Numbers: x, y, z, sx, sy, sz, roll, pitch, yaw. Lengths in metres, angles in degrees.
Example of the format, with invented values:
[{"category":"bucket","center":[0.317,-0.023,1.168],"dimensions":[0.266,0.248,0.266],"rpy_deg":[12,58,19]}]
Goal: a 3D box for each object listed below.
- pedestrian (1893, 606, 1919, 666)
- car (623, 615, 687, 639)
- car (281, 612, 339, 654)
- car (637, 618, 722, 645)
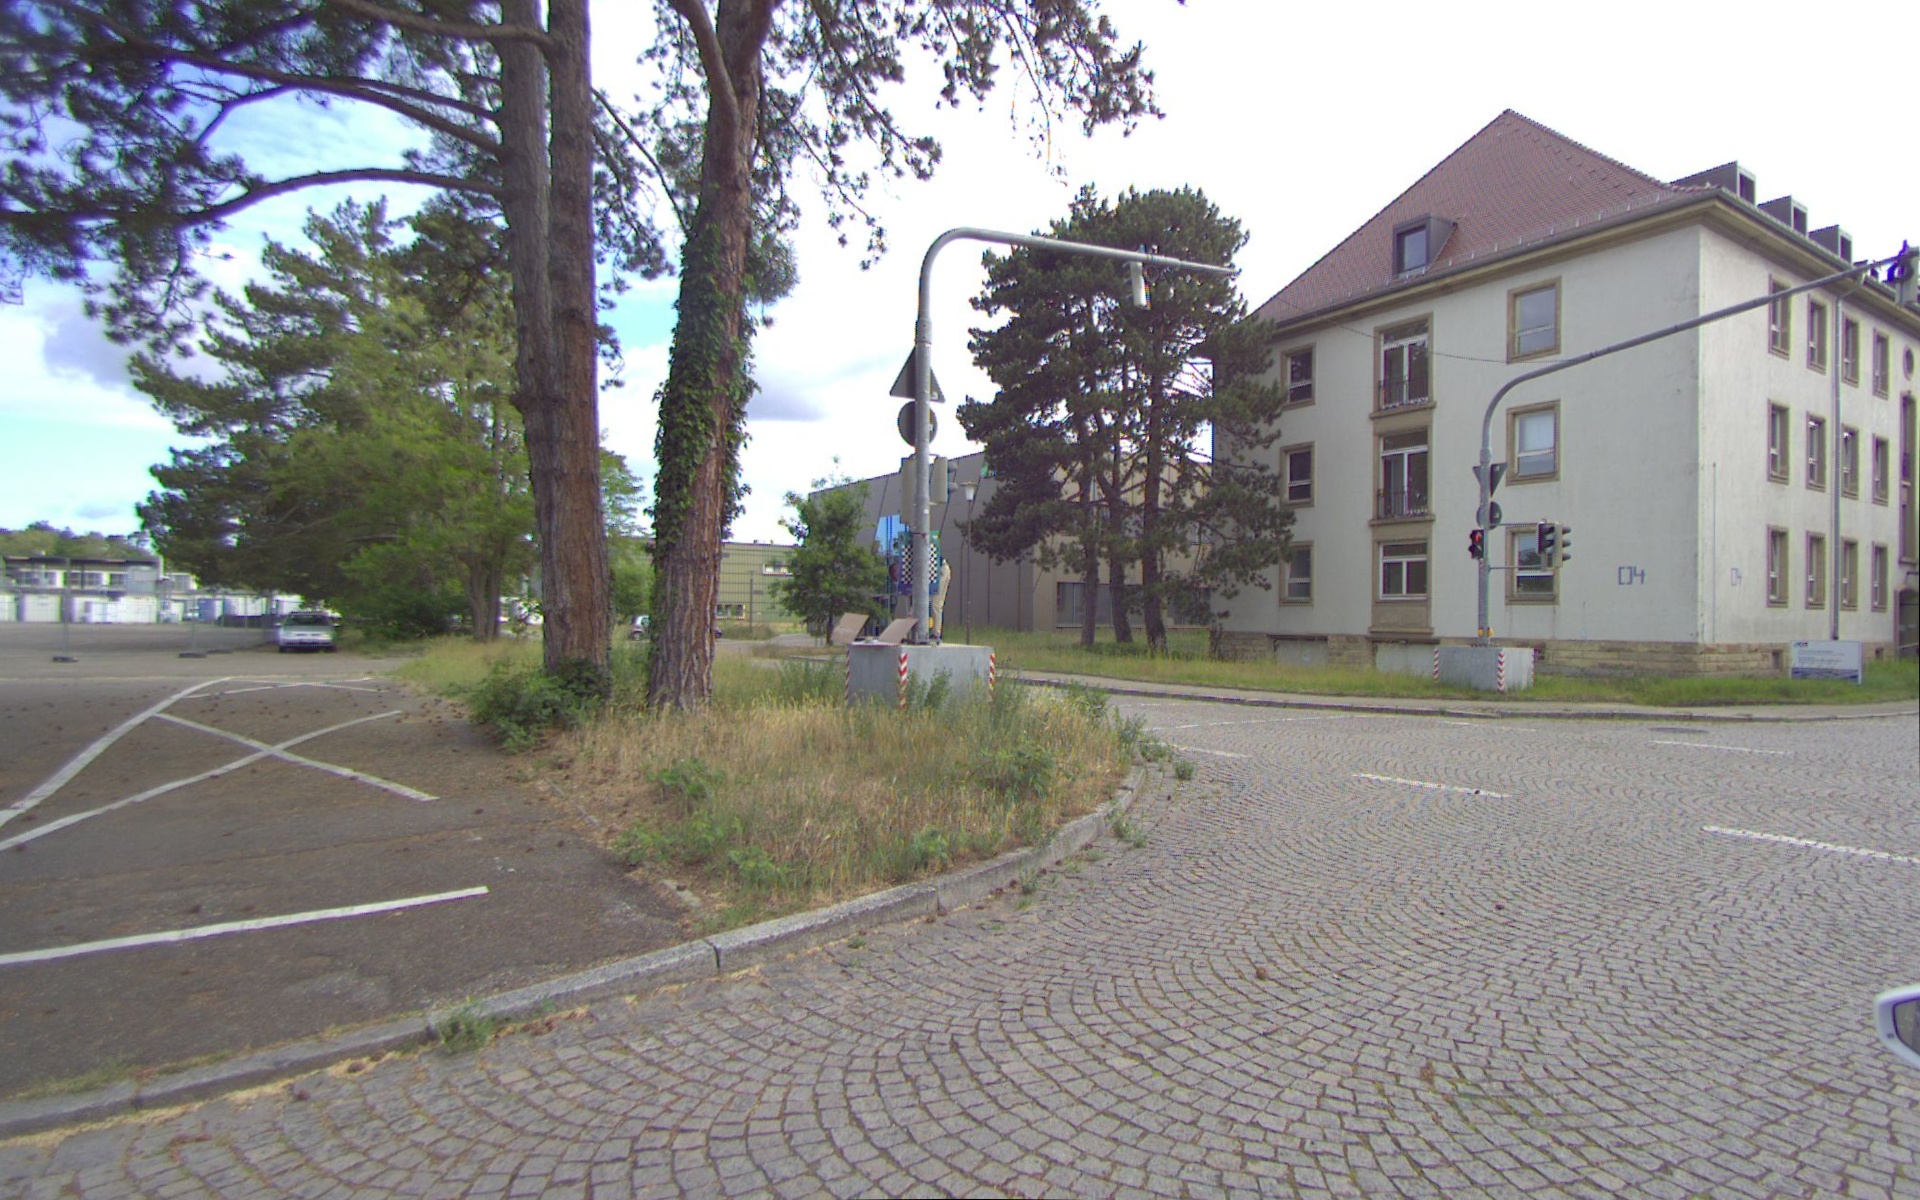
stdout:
[{"category":"pedestrian","center":[33.204,1.254,34.761],"dimensions":[1.009,2.040,1.083],"rpy_deg":[1,-1,-27]},{"category":"car","center":[-19.880,1.756,65.410],"dimensions":[3.618,1.449,1.983],"rpy_deg":[-1,0,-32]},{"category":"car","center":[-23.642,1.164,36.495],"dimensions":[1.680,1.410,3.962],"rpy_deg":[1,-1,-34]},{"category":"car","center":[-16.411,1.807,58.853],"dimensions":[4.409,1.449,1.983],"rpy_deg":[-1,0,-32]}]
